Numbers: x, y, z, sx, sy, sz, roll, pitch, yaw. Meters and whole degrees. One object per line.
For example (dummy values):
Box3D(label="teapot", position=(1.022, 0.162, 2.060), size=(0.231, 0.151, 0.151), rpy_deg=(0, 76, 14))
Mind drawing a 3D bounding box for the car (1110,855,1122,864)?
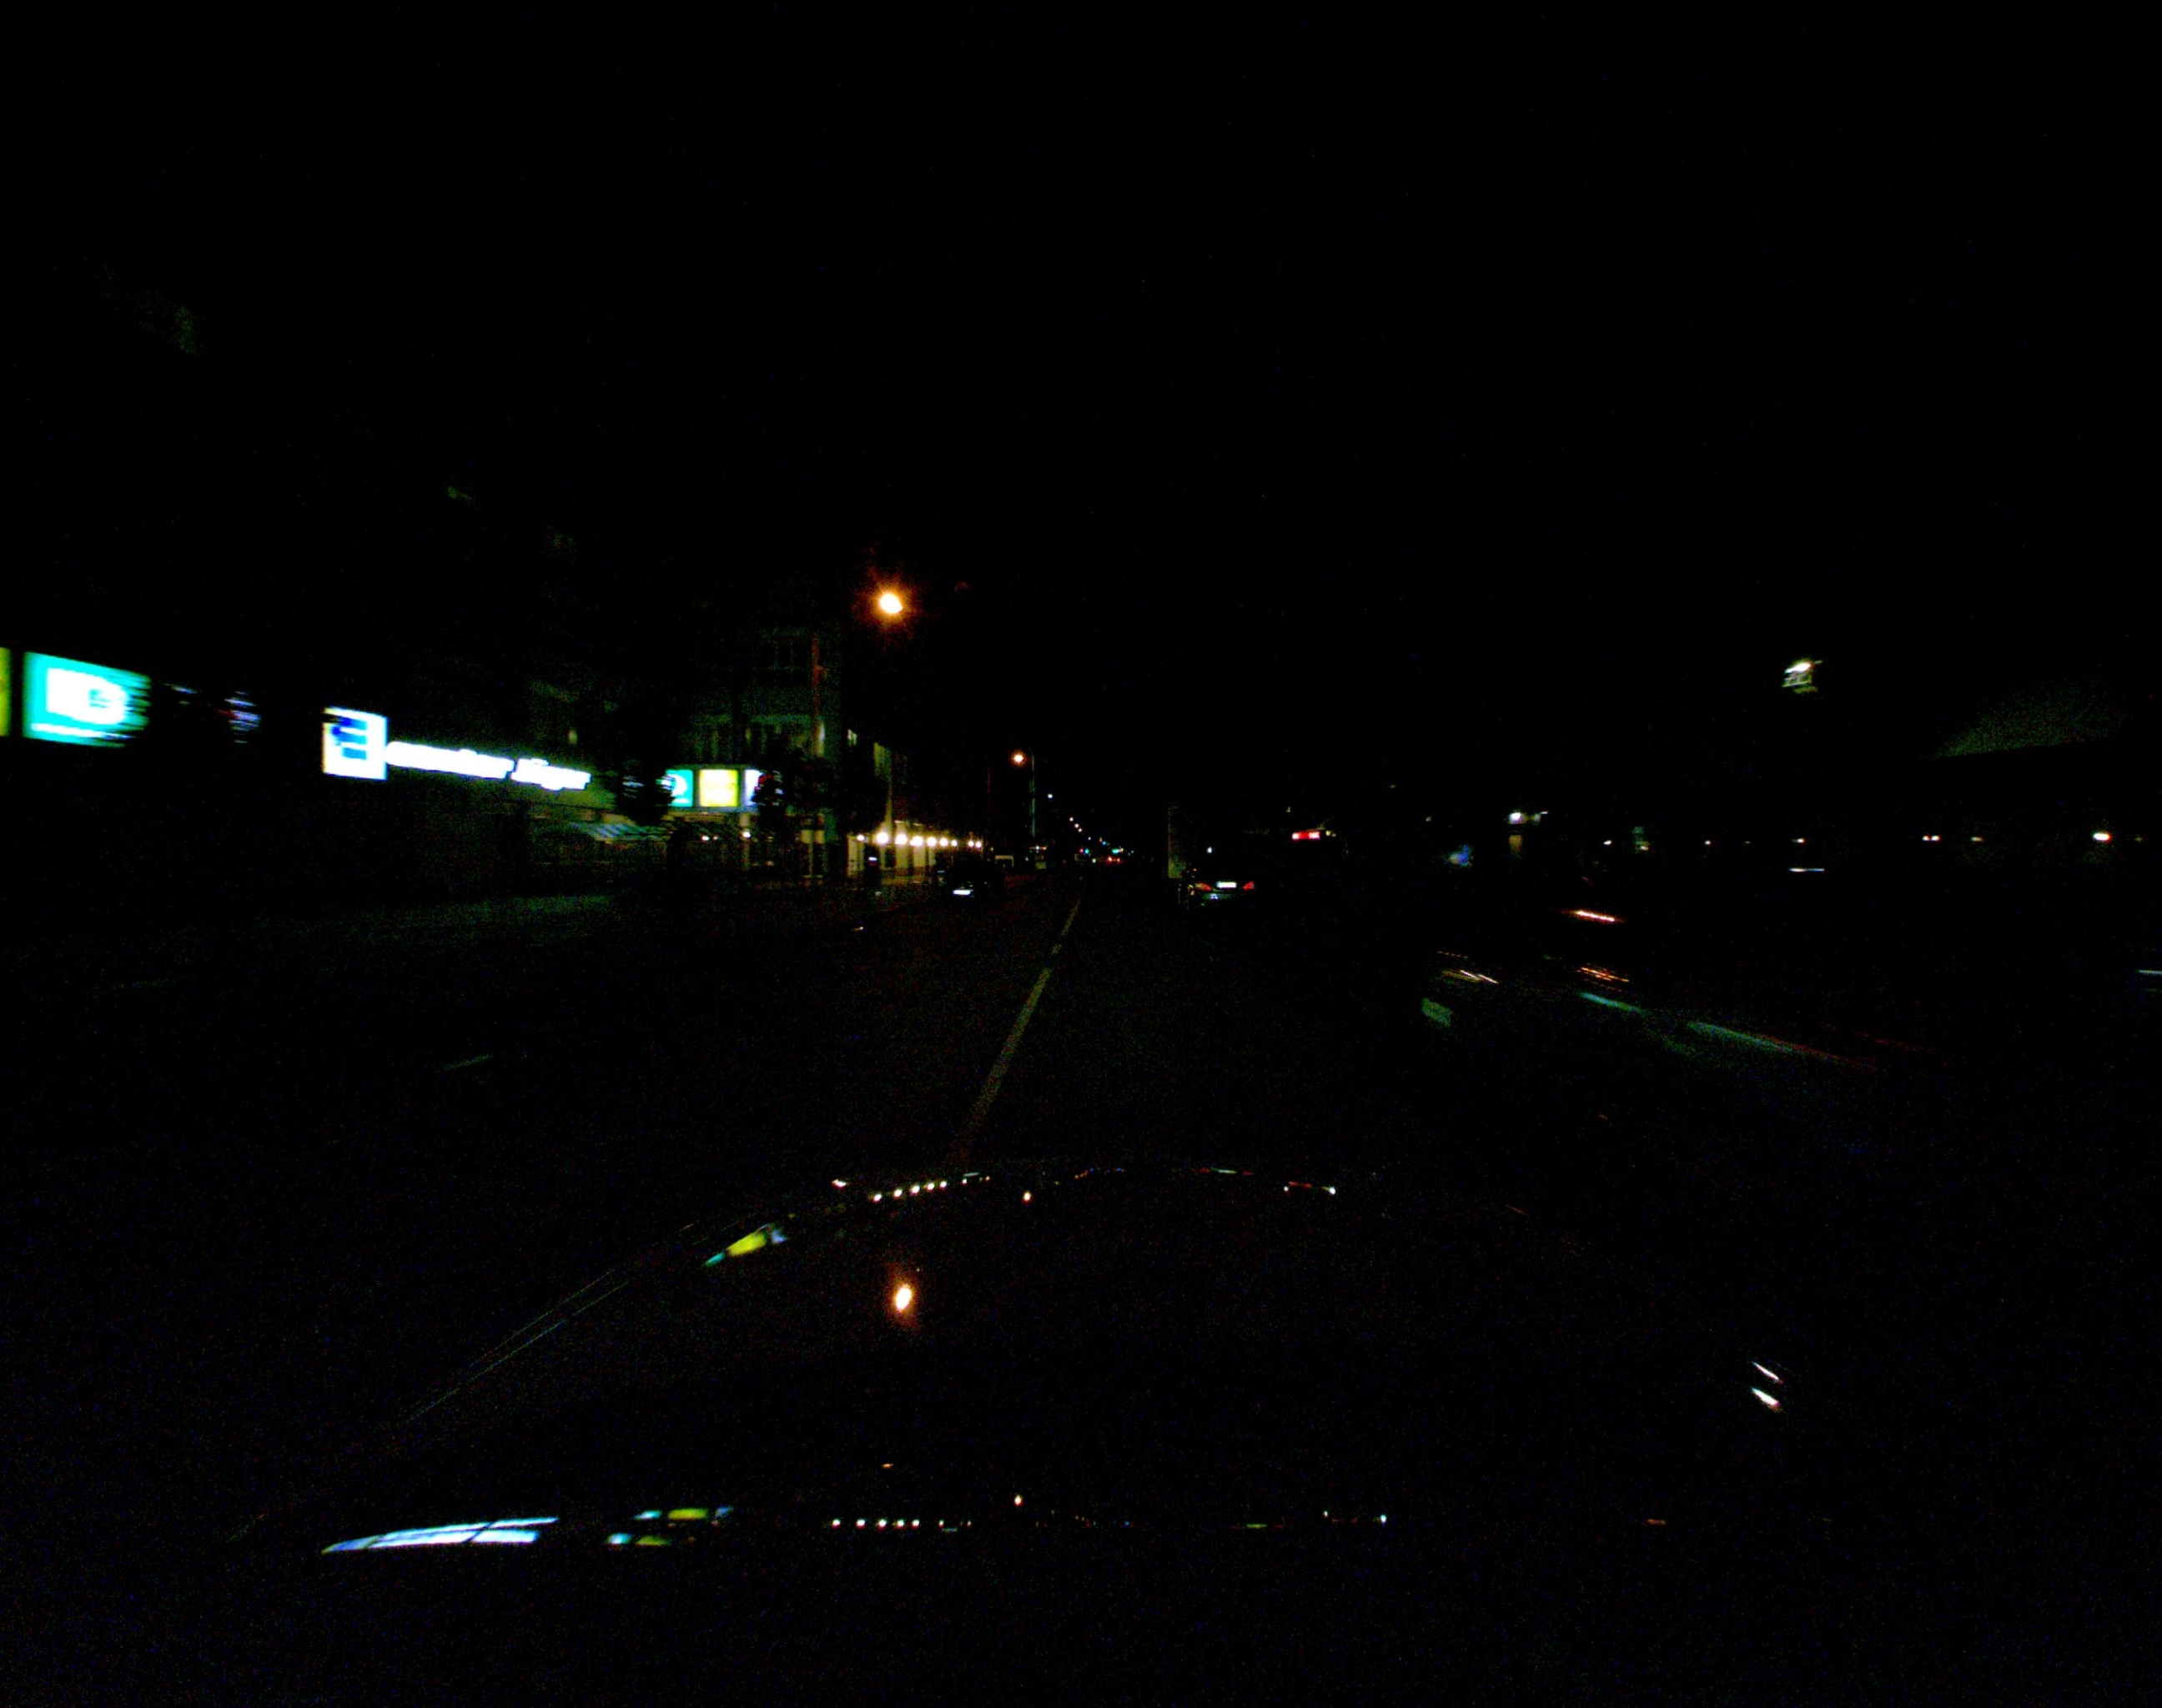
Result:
Box3D(label="car", position=(6.383, 1.022, 149.575), size=(1.986, 1.643, 4.001), rpy_deg=(-1, 0, 1))

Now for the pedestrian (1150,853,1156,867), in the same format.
Box3D(label="pedestrian", position=(9.065, 0.766, 102.614), size=(0.700, 1.818, 1.082), rpy_deg=(-1, 0, 2))

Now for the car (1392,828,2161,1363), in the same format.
Box3D(label="car", position=(3.230, 0.696, 4.370), size=(1.683, 1.537, 4.017), rpy_deg=(-1, 0, 2))

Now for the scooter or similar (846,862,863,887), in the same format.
Box3D(label="scooter or similar", position=(-11.177, 0.997, 40.235), size=(0.385, 1.221, 1.345), rpy_deg=(-1, 0, 4))

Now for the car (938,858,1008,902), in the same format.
Box3D(label="car", position=(-3.799, 0.875, 29.274), size=(1.734, 1.413, 4.498), rpy_deg=(0, 0, 2))

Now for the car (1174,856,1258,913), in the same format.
Box3D(label="car", position=(3.717, 0.789, 23.136), size=(1.757, 1.414, 4.810), rpy_deg=(-1, 0, 2))
